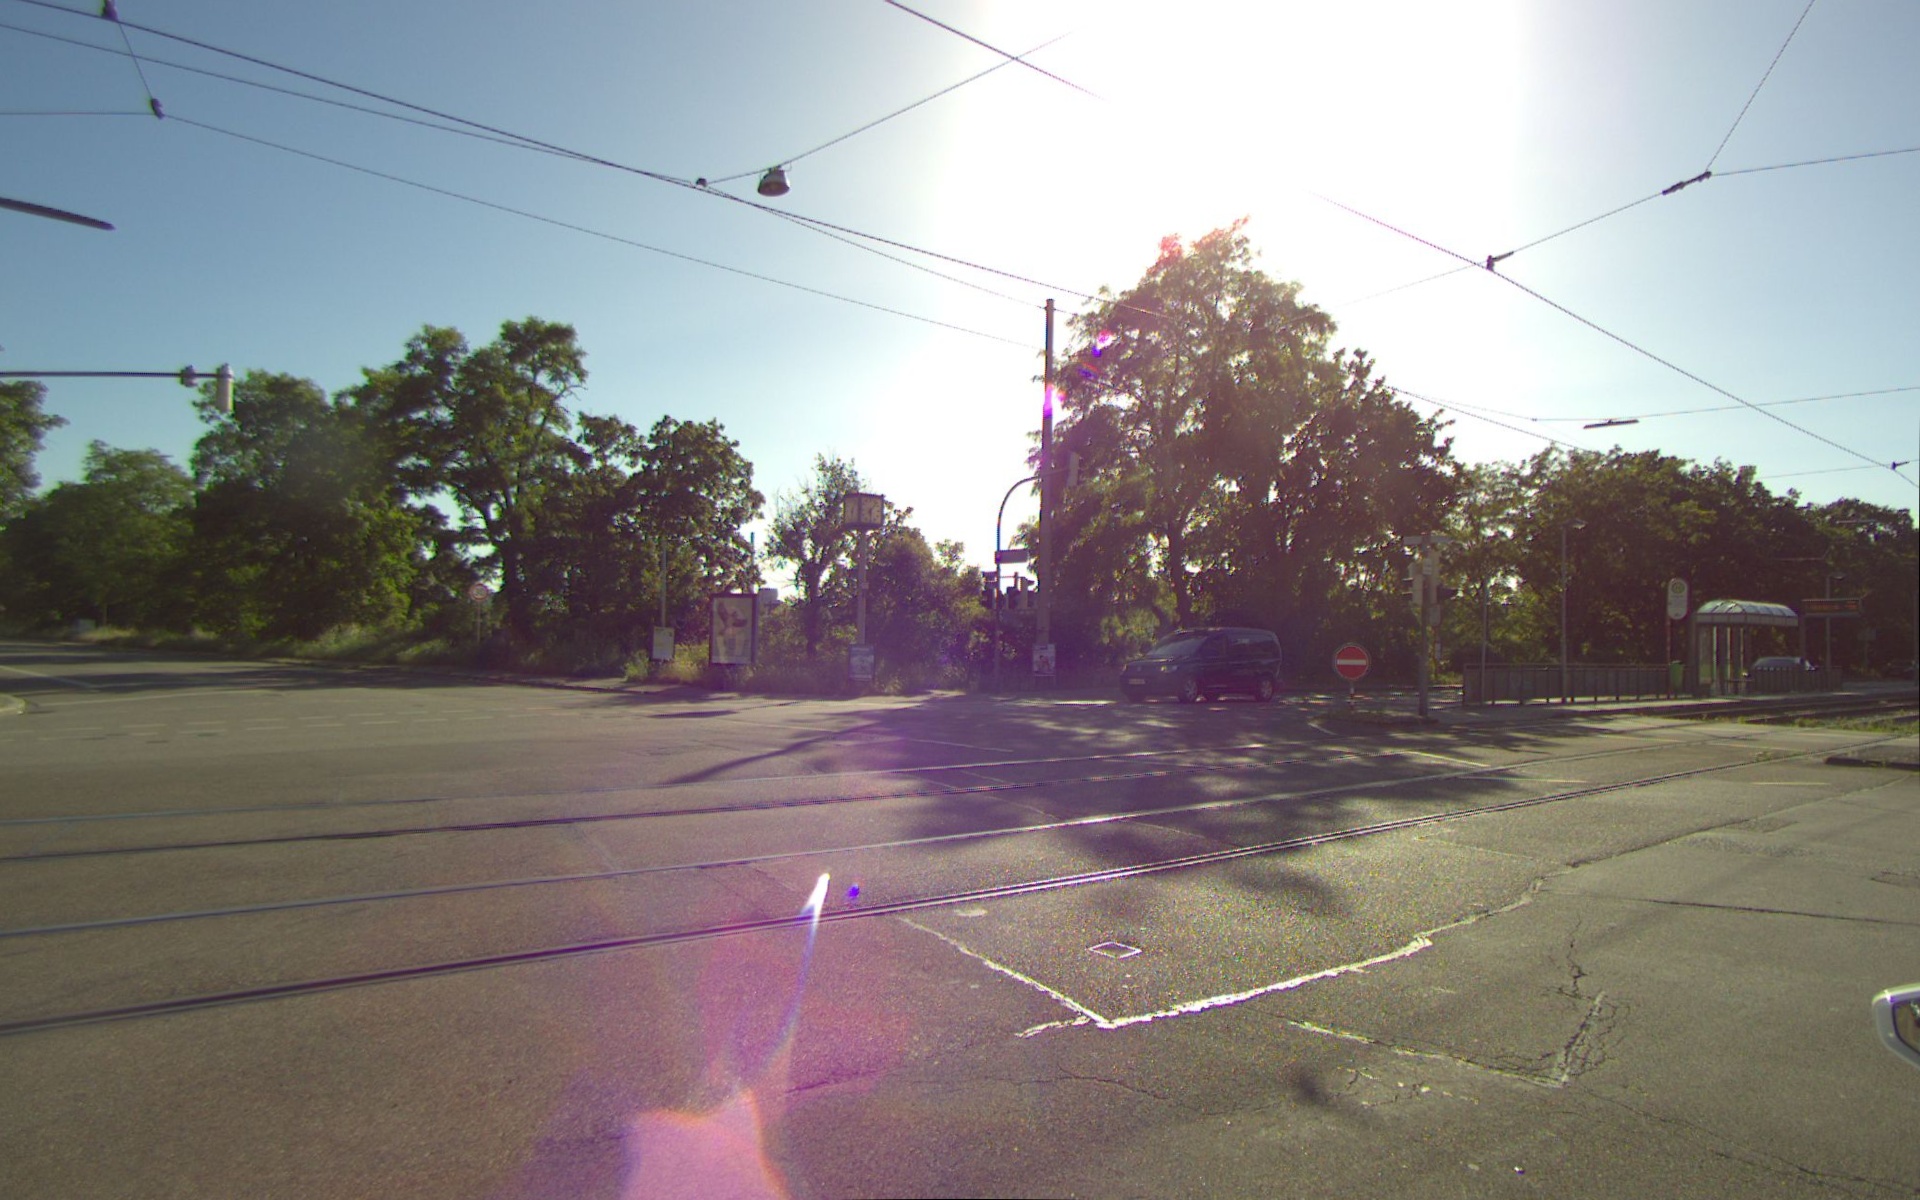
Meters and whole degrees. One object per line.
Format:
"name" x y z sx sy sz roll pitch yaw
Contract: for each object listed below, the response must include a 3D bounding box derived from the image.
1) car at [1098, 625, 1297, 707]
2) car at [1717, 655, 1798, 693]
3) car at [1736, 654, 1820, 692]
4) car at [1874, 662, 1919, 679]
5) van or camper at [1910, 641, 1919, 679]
"car" 5.820 1.592 24.277 4.987 1.790 1.979 4 -3 -38
"car" 34.253 3.153 43.114 3.964 1.486 1.792 3 -3 -37
"car" 36.646 3.246 44.959 3.960 1.587 1.908 3 -3 -35
"car" 72.060 5.407 77.184 3.960 1.283 1.908 3 -3 -35
"van or camper" 82.331 5.050 84.389 6.725 3.147 2.571 3 -3 -37
